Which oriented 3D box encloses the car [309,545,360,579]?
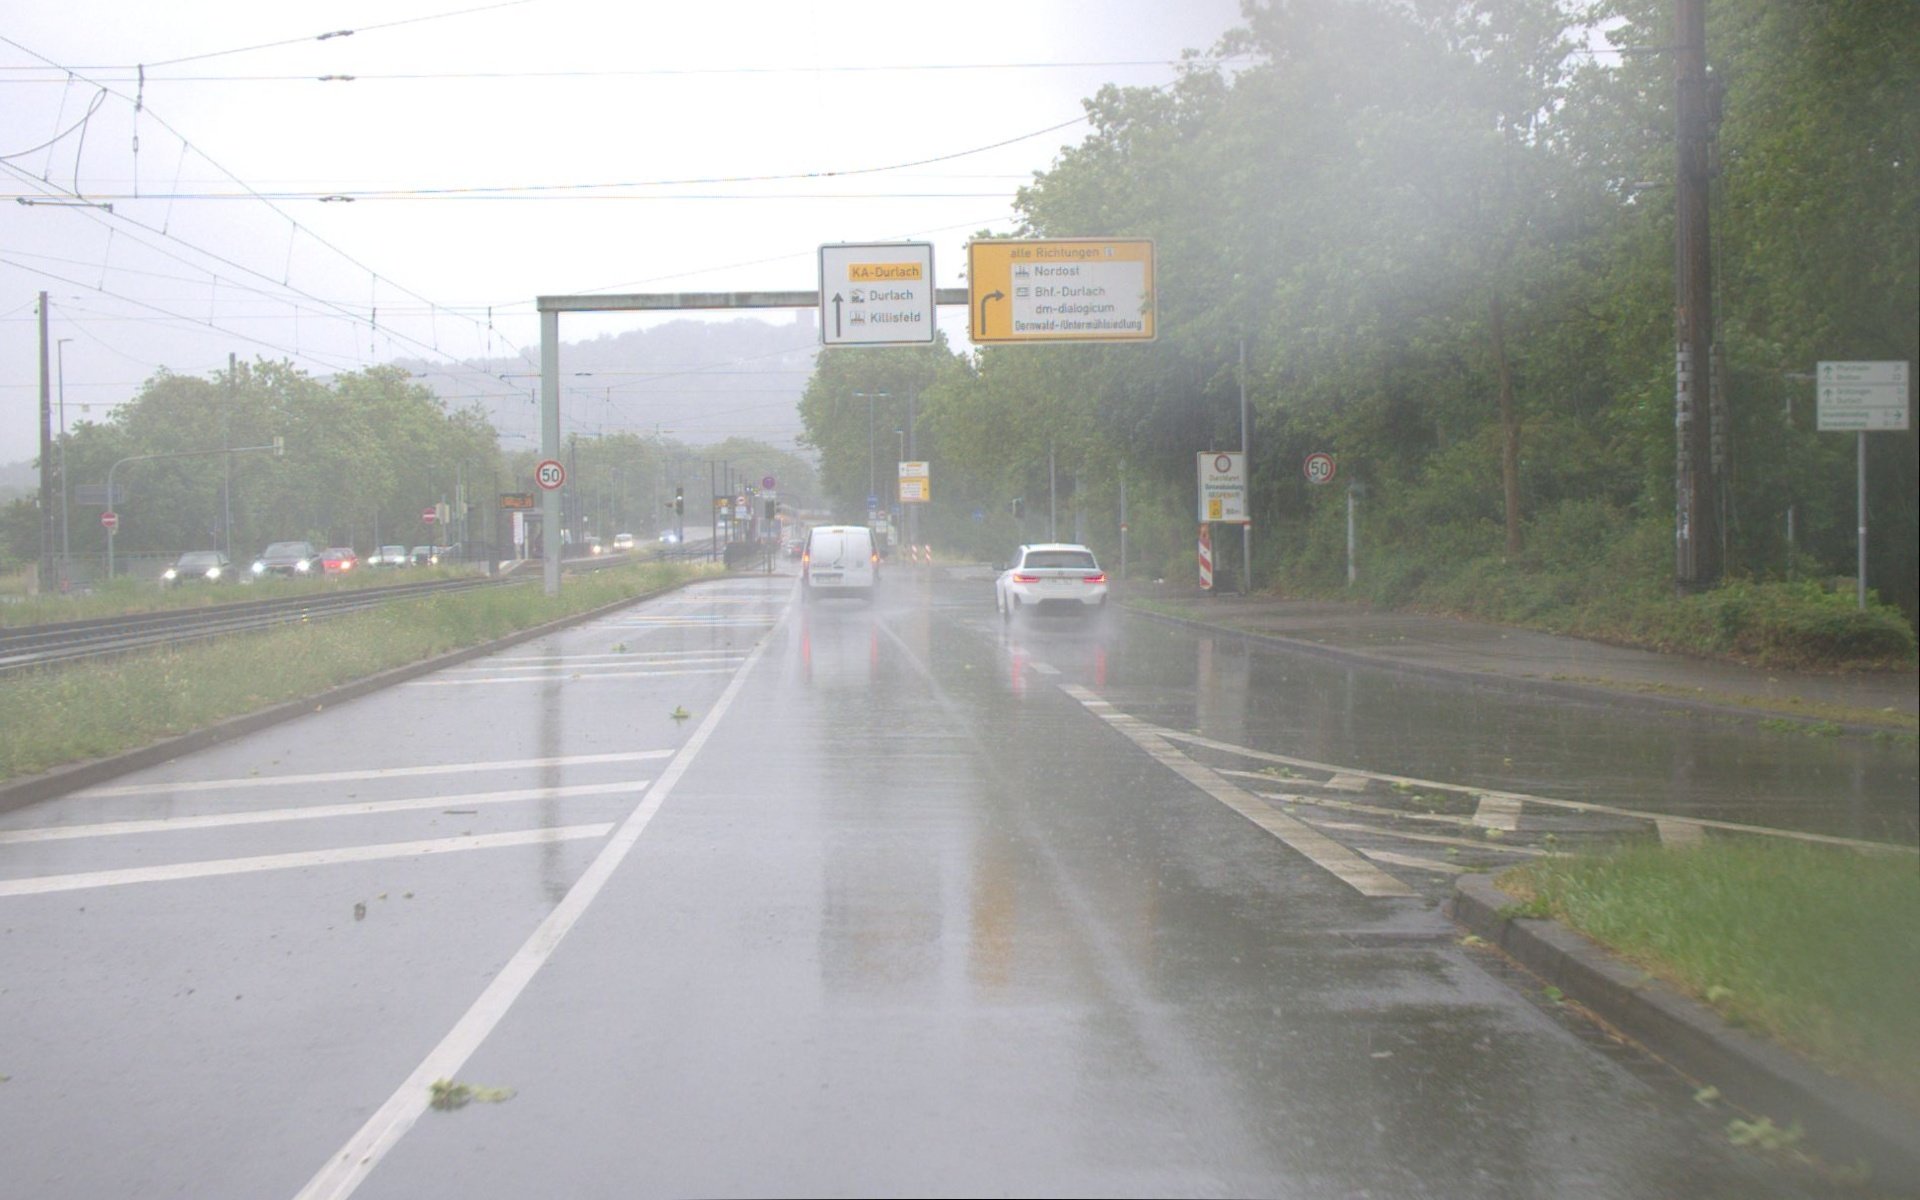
[{"bbox_3d":[-27.591,-1.701,151.732,1.720,1.489,4.001,0,1,-3],"label":"car"}]

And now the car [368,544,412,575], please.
[{"bbox_3d":[-28.125,-2.002,169.670,1.720,1.489,4.001,0,1,-3],"label":"car"}]

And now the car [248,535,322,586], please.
[{"bbox_3d":[-22.497,-1.342,114.776,1.943,1.610,4.990,-1,1,-6],"label":"car"}]

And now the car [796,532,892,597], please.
[{"bbox_3d":[-2.596,-0.798,76.861,2.077,1.415,4.000,0,1,-2],"label":"car"}]

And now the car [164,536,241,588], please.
[{"bbox_3d":[-25.676,-1.313,116.590,1.943,1.680,4.781,-1,1,-5],"label":"car"}]

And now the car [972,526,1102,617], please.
[{"bbox_3d":[1.320,-0.525,60.730,1.948,1.531,4.467,0,1,-3],"label":"car"}]
